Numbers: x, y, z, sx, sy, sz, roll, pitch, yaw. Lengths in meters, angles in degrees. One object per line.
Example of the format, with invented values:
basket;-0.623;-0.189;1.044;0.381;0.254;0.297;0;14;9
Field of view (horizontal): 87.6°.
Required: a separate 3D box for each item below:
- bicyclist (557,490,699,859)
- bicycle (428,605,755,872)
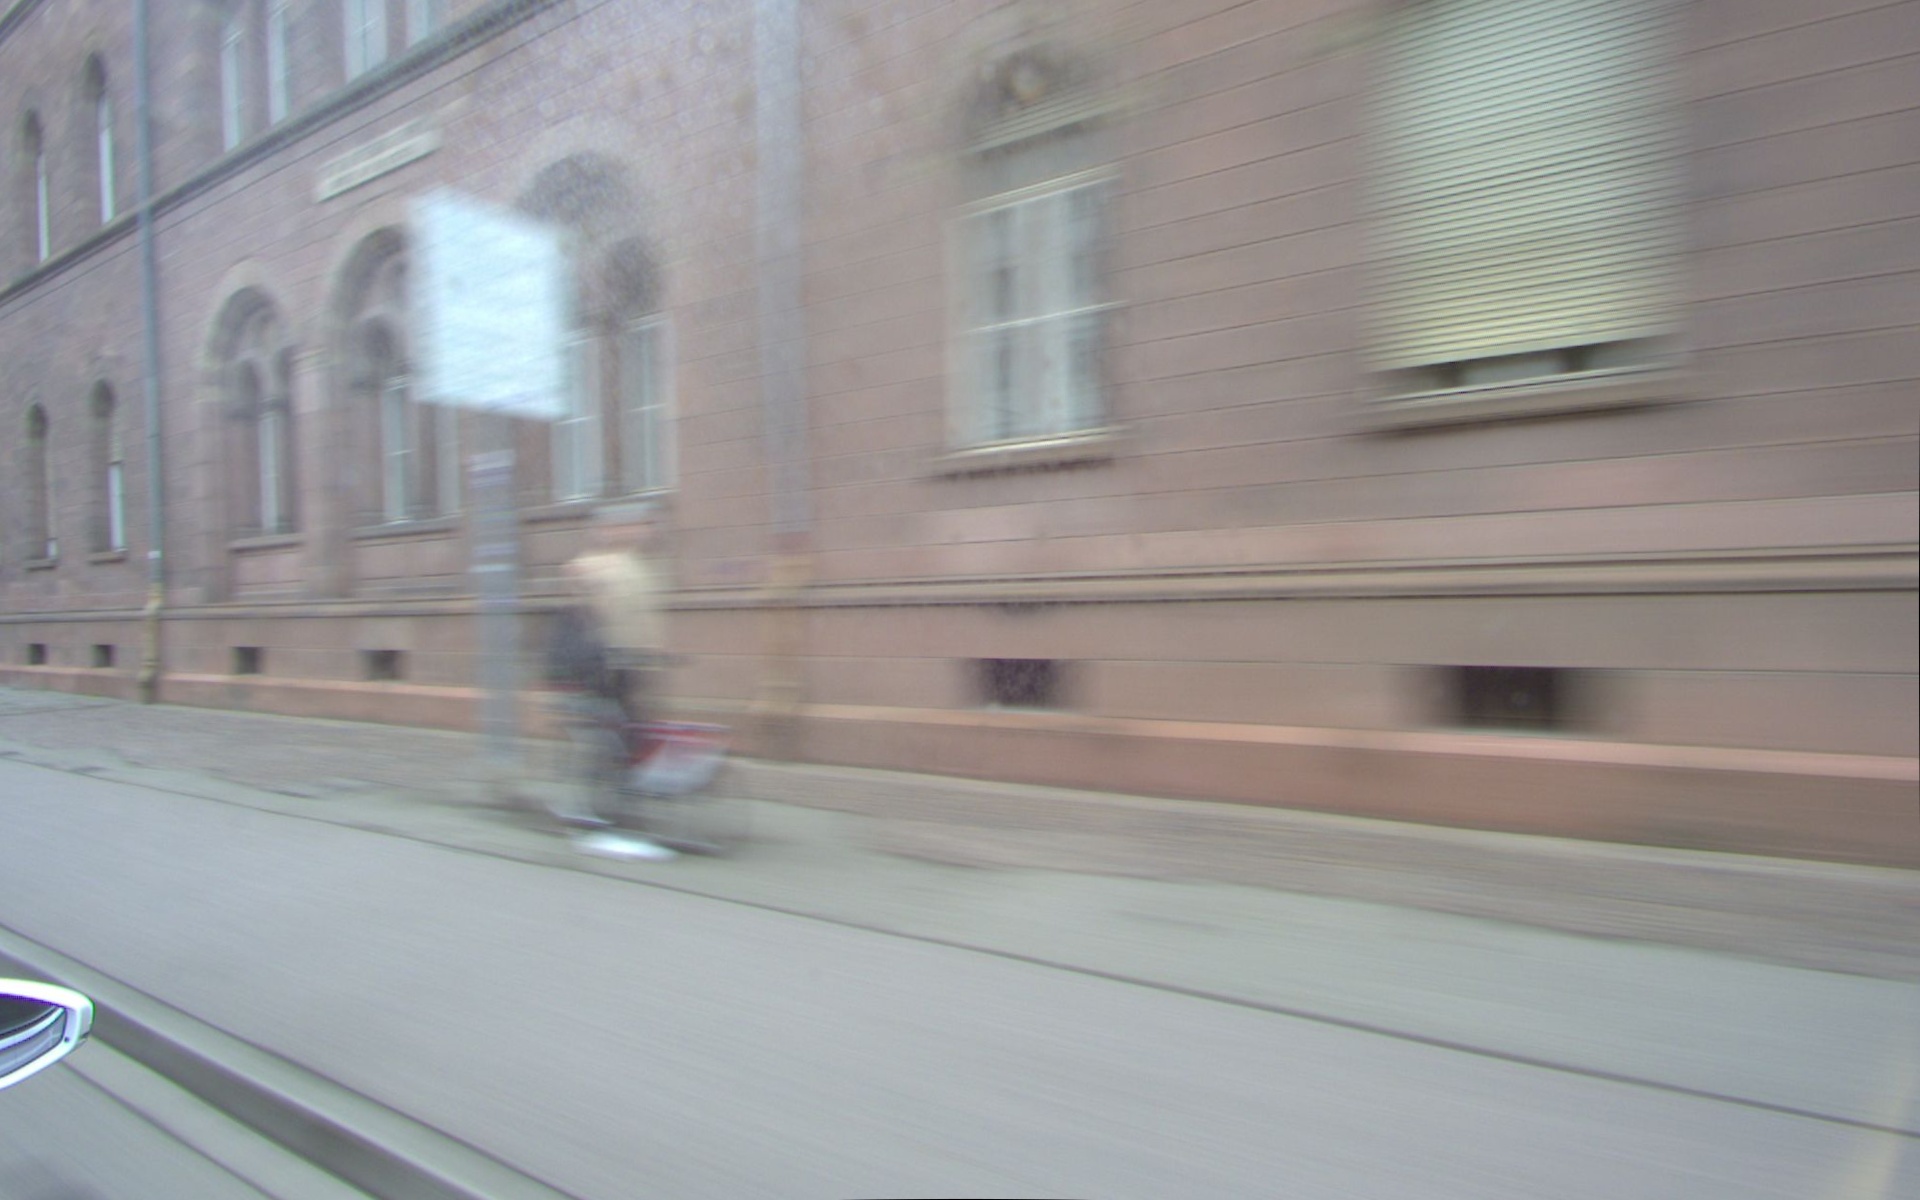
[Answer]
bicyclist;-1.791;0.381;5.432;0.444;1.883;0.527;0;2;32
bicycle;-2.142;0.696;5.662;2.195;1.294;0.444;-1;2;32
